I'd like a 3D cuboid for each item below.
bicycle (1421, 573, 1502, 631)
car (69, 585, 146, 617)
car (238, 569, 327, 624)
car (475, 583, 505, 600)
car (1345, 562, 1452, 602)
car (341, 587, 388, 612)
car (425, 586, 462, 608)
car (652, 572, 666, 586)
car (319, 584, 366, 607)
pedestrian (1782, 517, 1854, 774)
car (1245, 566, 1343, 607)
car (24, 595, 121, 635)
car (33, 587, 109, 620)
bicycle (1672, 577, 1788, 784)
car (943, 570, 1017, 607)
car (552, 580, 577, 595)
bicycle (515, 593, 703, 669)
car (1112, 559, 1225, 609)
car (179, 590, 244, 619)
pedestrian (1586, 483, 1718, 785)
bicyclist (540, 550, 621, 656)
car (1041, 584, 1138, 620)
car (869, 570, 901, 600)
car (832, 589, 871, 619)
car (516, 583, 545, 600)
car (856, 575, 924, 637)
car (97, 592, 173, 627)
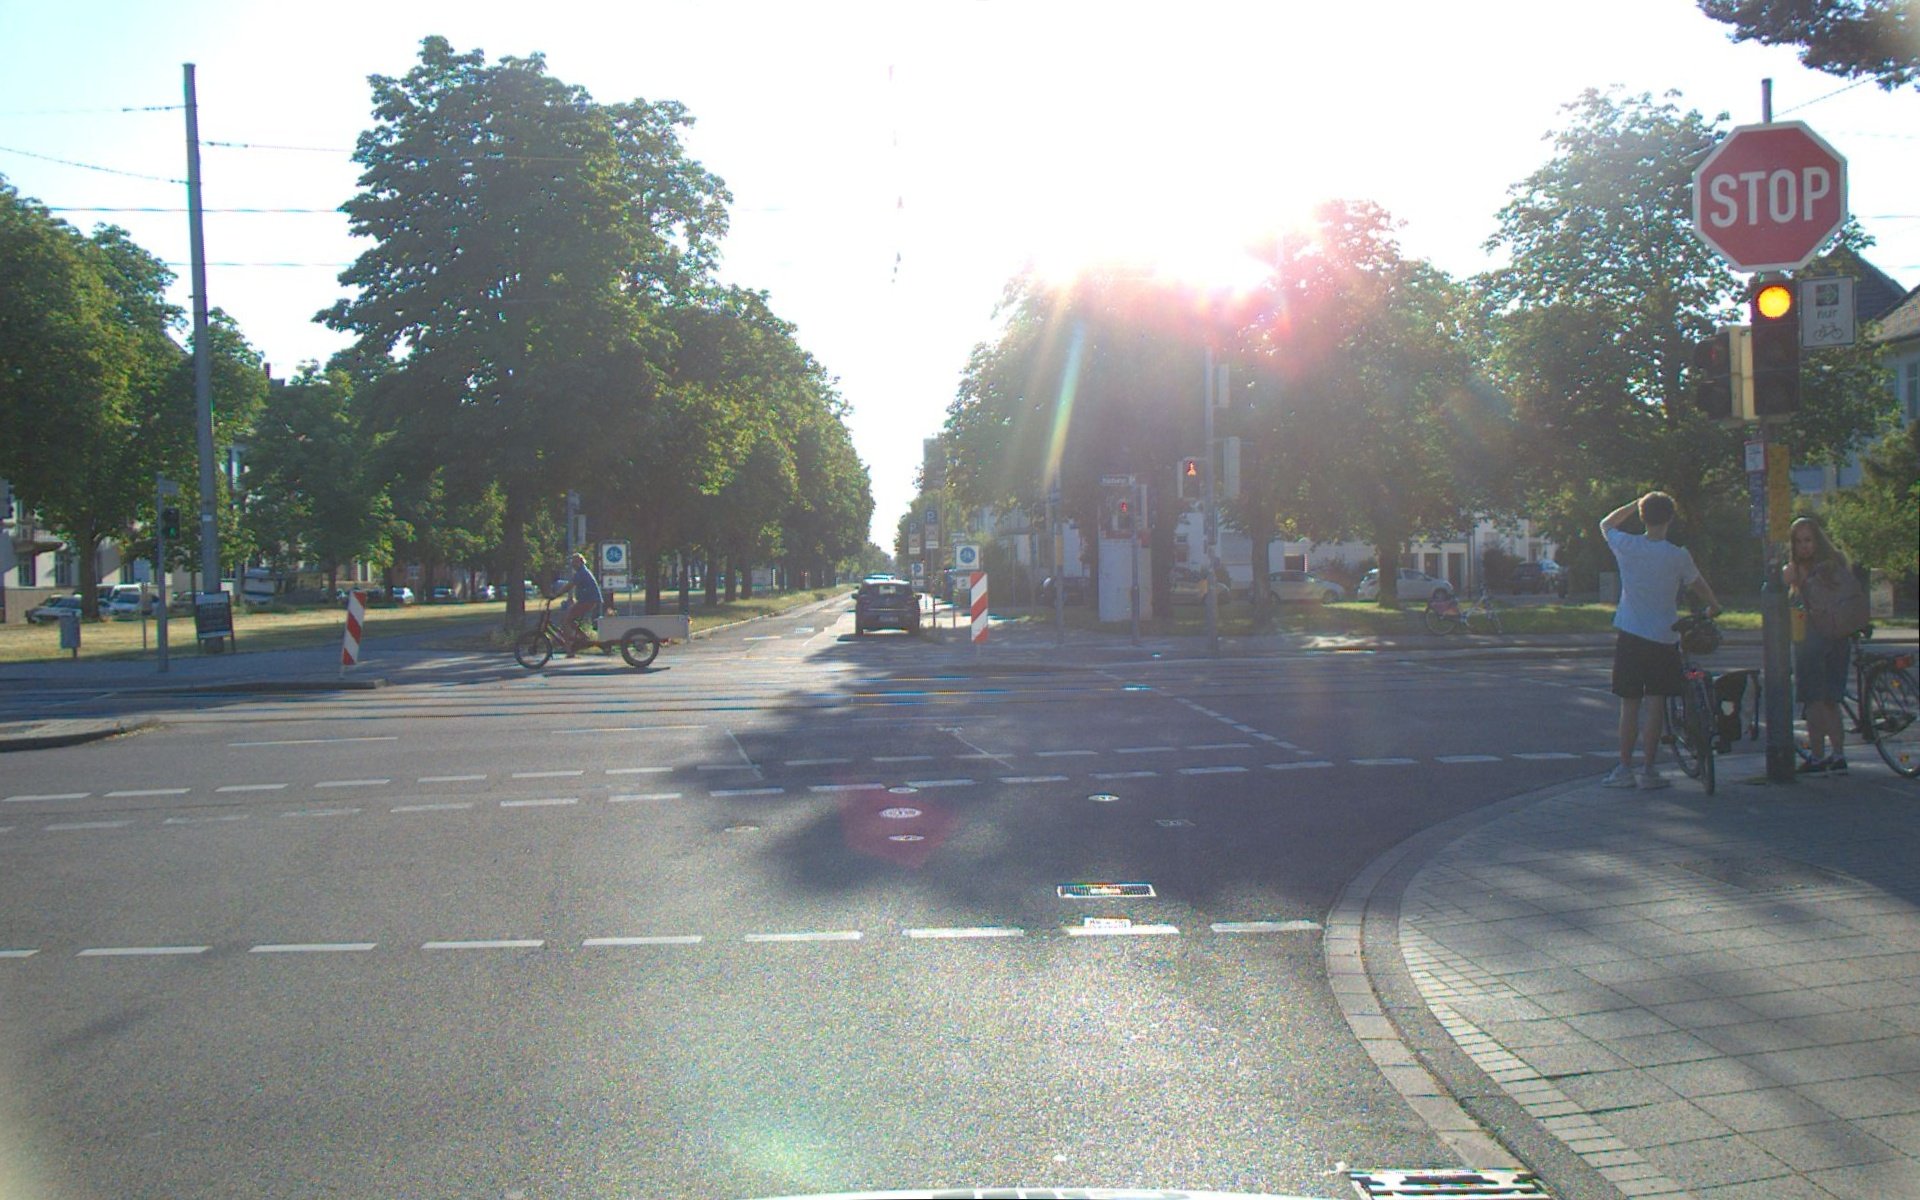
[{"bbox_3d":[10.016,0.040,33.041,1.489,1.108,0.468,-1,5,7],"label":"bicycle"},{"bbox_3d":[-47.453,0.054,92.187,1.953,1.688,4.569,1,0,-1],"label":"car"},{"bbox_3d":[-41.074,-0.259,100.509,2.344,3.185,7.850,1,1,-2],"label":"car"},{"bbox_3d":[-48.846,-0.887,171.957,1.953,1.688,4.354,1,0,-1],"label":"car"},{"bbox_3d":[17.550,-0.718,66.216,3.847,1.550,1.521,0,-1,-8],"label":"car"},{"bbox_3d":[-41.743,-0.047,115.996,1.841,1.703,4.313,1,0,-2],"label":"car"},{"bbox_3d":[-42.486,-0.238,136.165,1.775,1.812,4.121,1,0,-2],"label":"car"},{"bbox_3d":[-46.018,-3.152,253.293,1.621,1.972,3.565,1,-1,-3],"label":"car"},{"bbox_3d":[-47.009,-0.324,126.023,1.953,1.688,4.373,1,0,-1],"label":"car"},{"bbox_3d":[5.532,0.284,10.672,0.342,1.613,0.462,1,-1,20],"label":"pedestrian"},{"bbox_3d":[13.210,-0.521,65.520,3.487,1.542,1.602,-1,0,-8],"label":"car"},{"bbox_3d":[-40.206,0.669,75.027,1.953,1.688,4.569,1,0,-1],"label":"car"},{"bbox_3d":[-45.950,0.183,85.604,1.681,1.661,4.190,1,0,-1],"label":"car"},{"bbox_3d":[4.929,0.458,10.664,0.561,1.204,1.905,1,1,22],"label":"bicycle"},{"bbox_3d":[1.105,-0.653,93.534,3.911,1.854,1.757,-2,-5,-7],"label":"car"},{"bbox_3d":[-44.507,-1.394,186.248,1.954,1.688,4.568,-1,1,-3],"label":"car"},{"bbox_3d":[-6.000,0.527,28.380,3.009,1.182,0.875,-2,0,2],"label":"bicycle"},{"bbox_3d":[8.240,-0.612,65.667,4.157,1.908,2.029,-1,0,-3],"label":"car"},{"bbox_3d":[-46.091,0.294,102.006,1.953,1.688,4.569,1,0,-1],"label":"car"},{"bbox_3d":[4.582,0.217,10.996,0.614,1.899,0.775,-4,0,18],"label":"pedestrian"},{"bbox_3d":[-6.516,0.053,28.413,1.121,1.753,0.875,-2,0,2],"label":"bicyclist"},{"bbox_3d":[5.514,0.091,70.708,3.907,1.472,1.715,-1,0,-3],"label":"car"},{"bbox_3d":[-4.735,-0.985,103.662,1.954,1.812,3.998,1,1,-3],"label":"car"},{"bbox_3d":[-5.105,0.192,78.102,1.675,1.383,4.201,1,0,-2],"label":"car"},{"bbox_3d":[-43.312,-0.822,166.893,1.982,1.688,3.982,1,0,-2],"label":"car"},{"bbox_3d":[-1.838,0.160,44.513,1.690,1.537,4.539,1,0,-1],"label":"car"},{"bbox_3d":[-40.363,0.424,81.013,1.760,1.581,4.416,1,1,-4],"label":"car"}]
